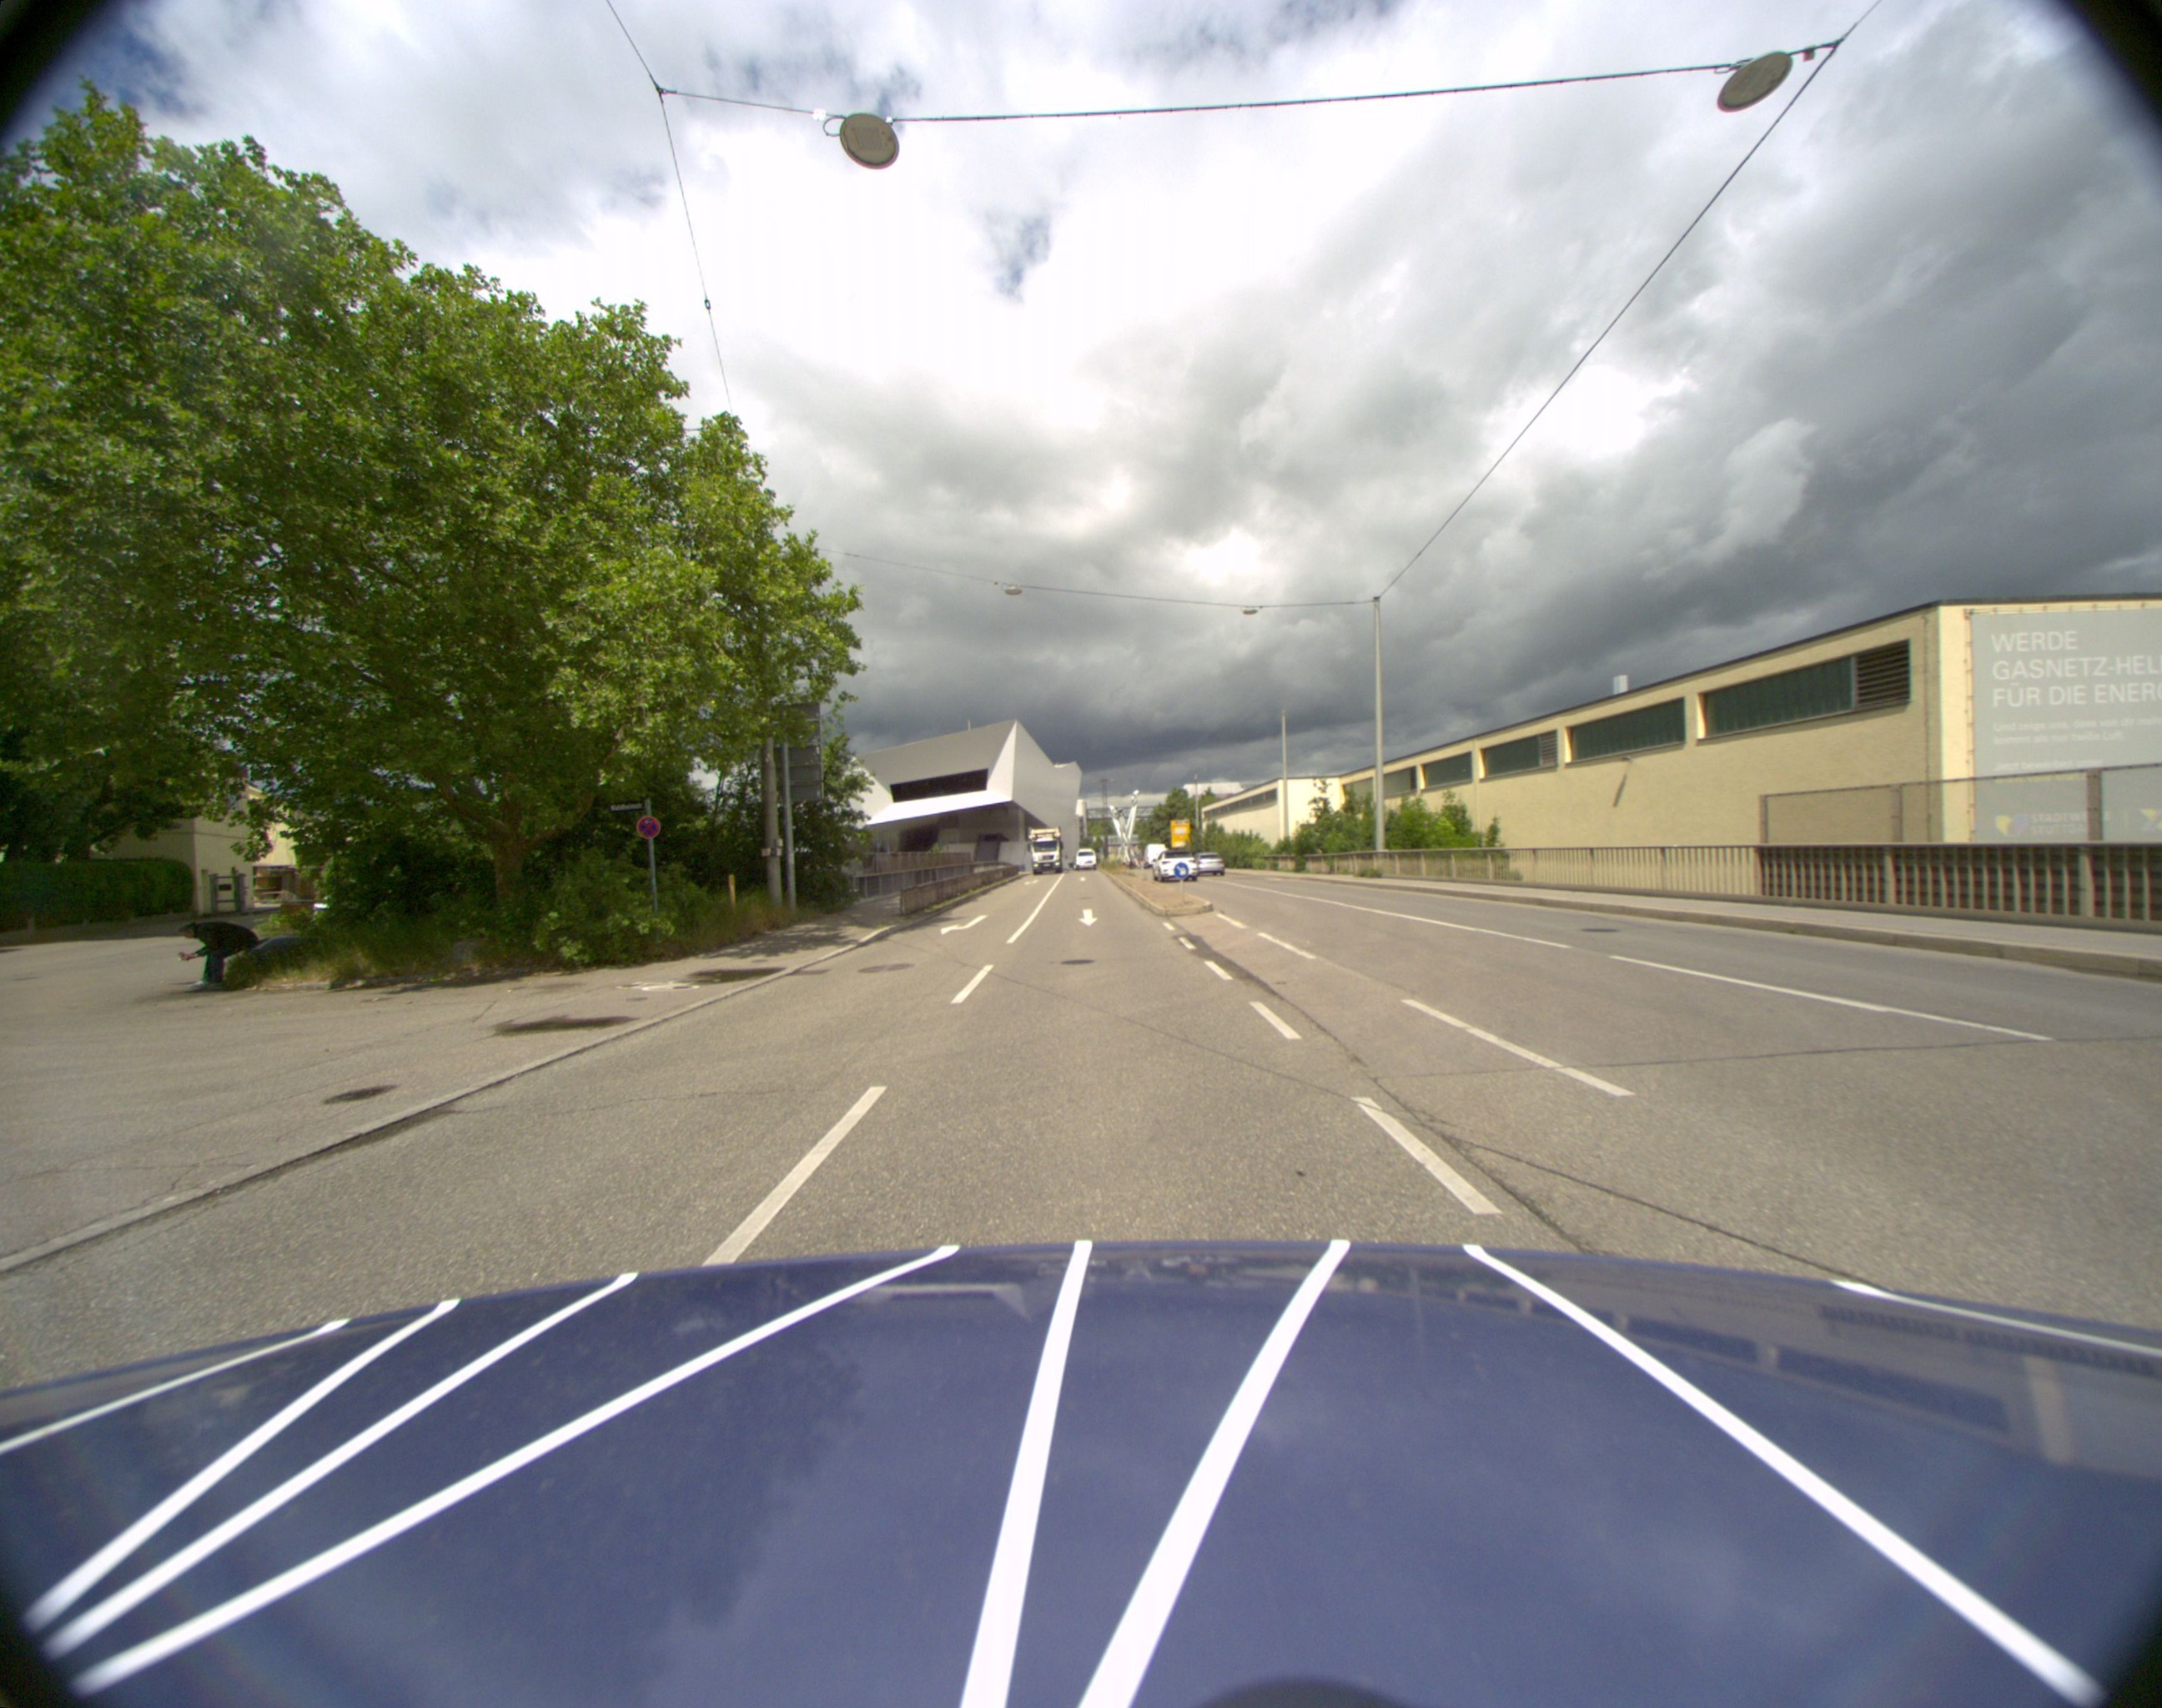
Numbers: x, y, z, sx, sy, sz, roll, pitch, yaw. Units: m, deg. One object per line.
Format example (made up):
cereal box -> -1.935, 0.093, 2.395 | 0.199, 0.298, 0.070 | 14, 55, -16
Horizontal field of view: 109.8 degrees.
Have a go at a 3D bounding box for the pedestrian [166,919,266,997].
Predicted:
pedestrian -> -15.551, 1.835, 13.675 | 0.884, 1.241, 0.967 | -2, 1, 29

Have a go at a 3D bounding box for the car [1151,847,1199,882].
car -> 4.570, 0.486, 37.338 | 1.806, 1.543, 3.770 | -2, 1, -1

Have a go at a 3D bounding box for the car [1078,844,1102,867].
car -> 0.903, 0.130, 72.621 | 1.935, 2.078, 4.208 | -2, 1, 4

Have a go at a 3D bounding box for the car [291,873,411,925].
car -> -28.300, 1.700, 29.646 | 2.003, 1.709, 4.104 | 2, 0, -23

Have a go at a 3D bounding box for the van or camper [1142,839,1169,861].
van or camper -> 7.942, -0.439, 81.545 | 2.164, 2.109, 5.469 | -2, 1, -1

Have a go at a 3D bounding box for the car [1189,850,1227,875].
car -> 7.724, 0.508, 46.547 | 1.612, 1.404, 3.798 | -2, 1, -1

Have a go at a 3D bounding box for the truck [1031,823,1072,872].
truck -> -2.464, -0.480, 66.811 | 2.836, 3.889, 10.367 | -1, 0, 2

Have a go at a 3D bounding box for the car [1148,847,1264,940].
car -> 2.647, 0.756, 17.110 | 1.870, 1.782, 4.207 | -1, 1, 0
